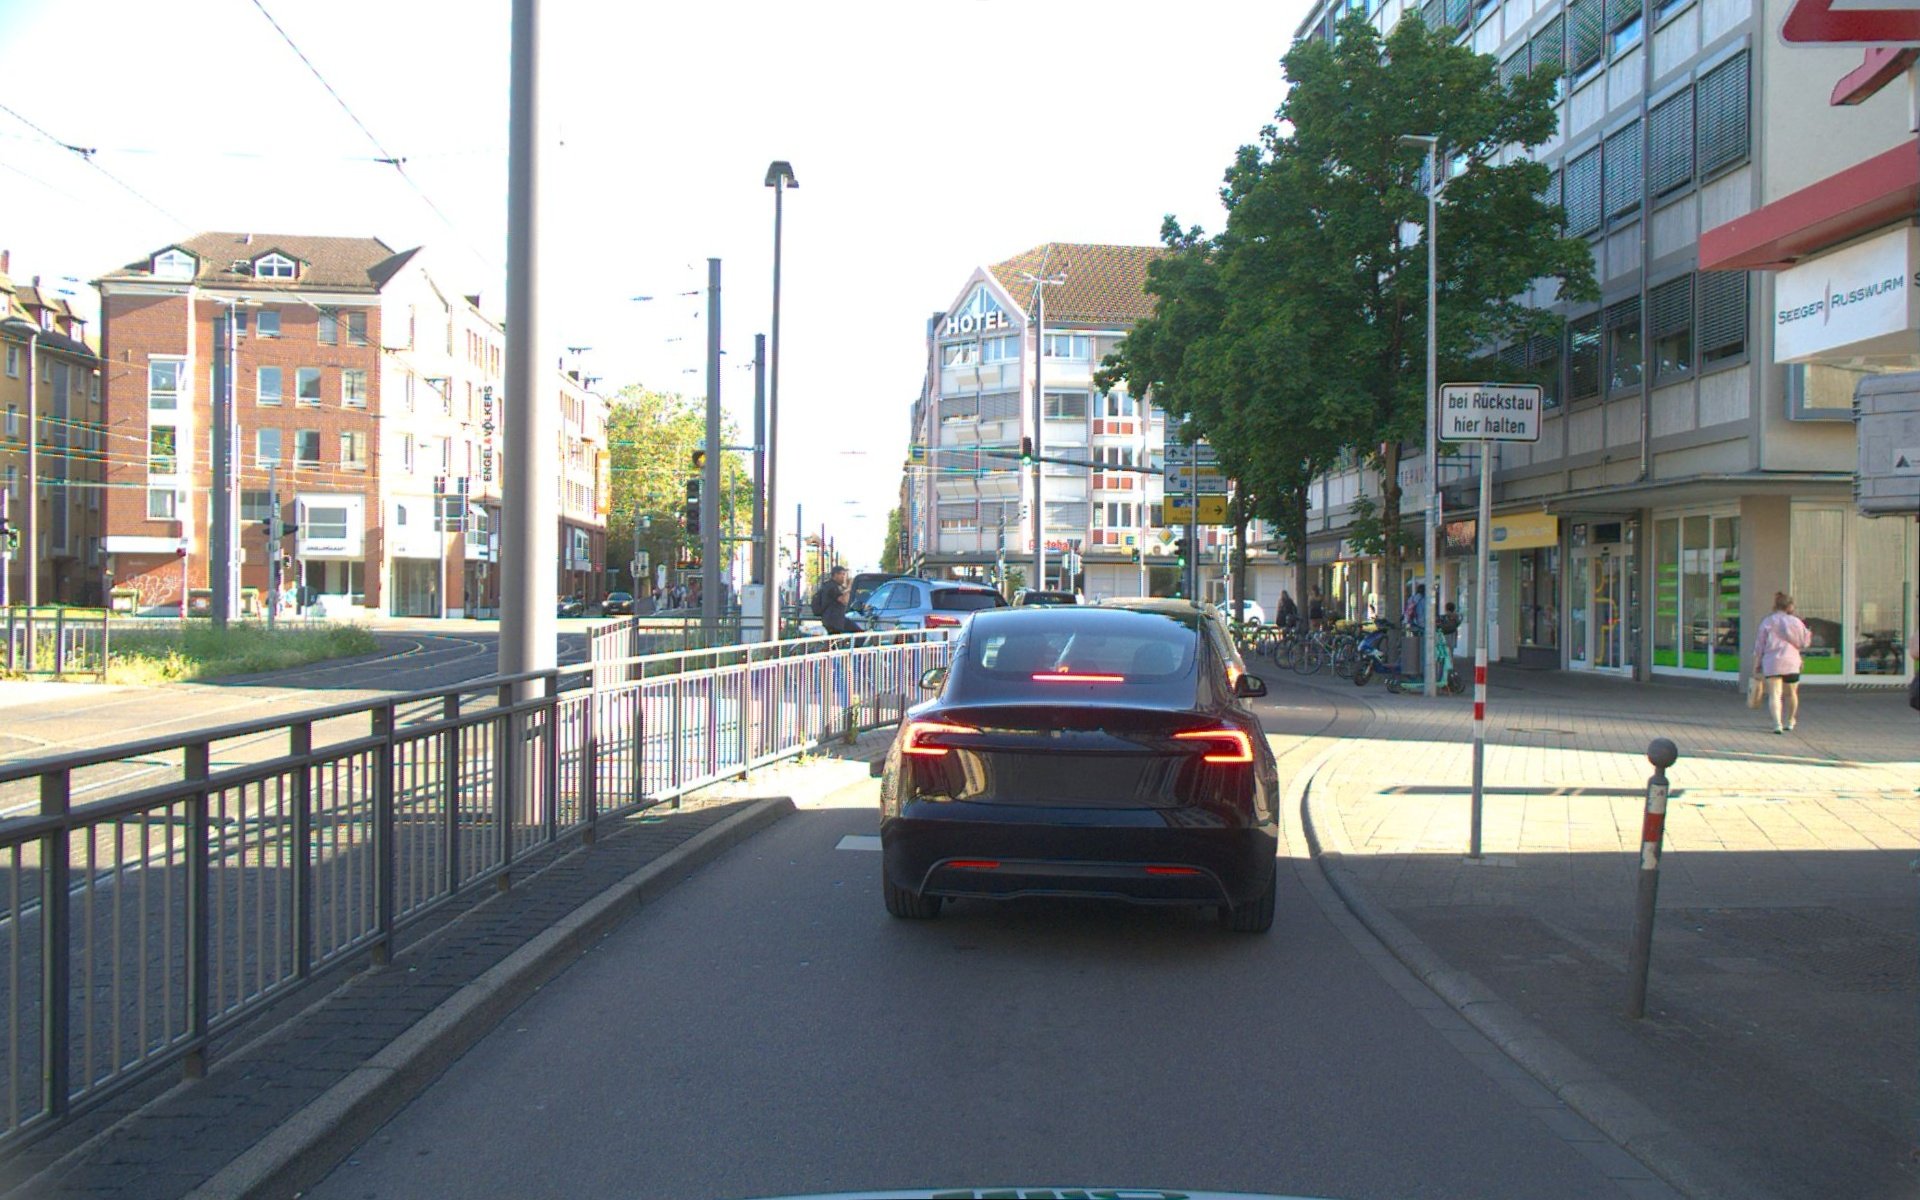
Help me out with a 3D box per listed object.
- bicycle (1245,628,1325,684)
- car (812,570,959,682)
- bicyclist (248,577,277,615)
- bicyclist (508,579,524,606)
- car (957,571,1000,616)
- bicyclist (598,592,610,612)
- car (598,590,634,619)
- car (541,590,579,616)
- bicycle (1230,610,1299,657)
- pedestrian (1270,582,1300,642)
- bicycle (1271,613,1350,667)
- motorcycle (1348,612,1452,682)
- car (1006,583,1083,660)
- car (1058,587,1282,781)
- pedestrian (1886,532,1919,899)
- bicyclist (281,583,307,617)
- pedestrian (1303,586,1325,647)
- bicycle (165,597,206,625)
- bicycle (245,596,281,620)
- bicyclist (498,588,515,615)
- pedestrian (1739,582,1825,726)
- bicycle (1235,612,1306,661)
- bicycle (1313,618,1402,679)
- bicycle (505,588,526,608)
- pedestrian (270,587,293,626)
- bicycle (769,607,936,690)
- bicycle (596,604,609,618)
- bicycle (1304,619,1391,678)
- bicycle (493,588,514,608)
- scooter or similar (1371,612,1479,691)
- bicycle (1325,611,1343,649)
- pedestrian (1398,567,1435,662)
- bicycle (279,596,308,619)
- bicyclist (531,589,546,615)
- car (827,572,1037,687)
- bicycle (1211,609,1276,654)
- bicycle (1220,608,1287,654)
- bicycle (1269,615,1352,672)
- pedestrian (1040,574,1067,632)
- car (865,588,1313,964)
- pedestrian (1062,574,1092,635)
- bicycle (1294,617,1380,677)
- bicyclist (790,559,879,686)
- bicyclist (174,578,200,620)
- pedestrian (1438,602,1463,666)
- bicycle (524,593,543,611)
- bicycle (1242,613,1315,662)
[{"bbox_3d":[6.742,1.162,34.323,1.620,1.118,0.349,1,-1,-11],"label":"bicycle"},{"bbox_3d":[-1.543,0.486,32.589,1.962,2.049,3.981,0,0,-17],"label":"car"},{"bbox_3d":[-28.377,-0.159,67.302,0.880,1.529,0.696,1,-1,-1],"label":"bicyclist"},{"bbox_3d":[-26.776,-0.461,99.799,0.767,1.590,0.746,0,0,1],"label":"bicyclist"},{"bbox_3d":[0.768,-0.260,69.846,1.685,1.781,3.753,1,0,-1],"label":"car"},{"bbox_3d":[-28.833,0.160,133.891,0.767,1.590,0.746,1,-1,1],"label":"bicyclist"},{"bbox_3d":[-21.974,0.289,105.643,1.663,1.762,3.704,1,0,-3],"label":"car"},{"bbox_3d":[-24.715,0.214,102.382,1.677,1.553,4.031,1,0,-5],"label":"car"},{"bbox_3d":[7.432,0.818,40.435,1.616,1.118,0.350,1,-1,1],"label":"bicycle"},{"bbox_3d":[9.247,0.341,47.046,0.685,1.691,0.777,1,-1,-1],"label":"pedestrian"},{"bbox_3d":[7.504,0.847,35.443,1.616,1.118,0.350,1,-1,1],"label":"bicycle"},{"bbox_3d":[7.812,0.838,29.399,1.673,1.194,0.541,1,-1,-3],"label":"motorcycle"},{"bbox_3d":[2.060,0.518,41.175,1.566,1.809,3.979,1,0,-2],"label":"car"},{"bbox_3d":[1.827,0.639,14.912,1.714,1.480,4.003,1,0,6],"label":"car"},{"bbox_3d":[5.269,0.563,8.360,0.895,1.783,1.038,0,0,22],"label":"pedestrian"},{"bbox_3d":[-29.671,-0.012,73.660,0.689,1.496,0.973,0,0,7],"label":"bicyclist"},{"bbox_3d":[10.103,0.465,47.228,0.515,1.740,0.403,1,-1,2],"label":"pedestrian"},{"bbox_3d":[-28.280,0.388,60.435,0.437,0.988,2.246,1,0,-1],"label":"bicycle"},{"bbox_3d":[-28.366,0.327,67.353,0.513,0.988,2.246,1,0,-1],"label":"bicycle"},{"bbox_3d":[-26.471,0.083,96.573,0.768,1.590,0.746,1,-1,0],"label":"bicyclist"},{"bbox_3d":[10.043,0.645,20.231,0.871,1.696,0.808,1,-1,23],"label":"pedestrian"},{"bbox_3d":[7.403,0.865,39.421,1.616,1.118,0.350,1,-1,1],"label":"bicycle"},{"bbox_3d":[7.484,0.916,31.121,1.620,1.118,0.349,1,-1,-11],"label":"bicycle"},{"bbox_3d":[-26.791,-0.134,99.778,0.518,1.107,2.284,4,-1,1],"label":"bicycle"},{"bbox_3d":[-33.174,0.325,80.822,0.767,1.852,0.746,1,-1,1],"label":"pedestrian"},{"bbox_3d":[-1.432,0.643,22.408,2.313,1.072,0.622,1,-1,-39],"label":"bicycle"},{"bbox_3d":[-28.861,0.864,133.565,0.518,1.107,2.225,1,0,1],"label":"bicycle"},{"bbox_3d":[7.387,0.926,31.541,1.620,1.079,0.349,1,-1,-11],"label":"bicycle"},{"bbox_3d":[-26.483,-0.122,95.990,0.526,1.107,2.225,1,0,1],"label":"bicycle"},{"bbox_3d":[7.667,0.837,27.287,1.610,1.236,0.644,1,-1,30],"label":"scooter or similar"},{"bbox_3d":[10.570,0.851,46.786,0.325,1.052,1.257,1,0,5],"label":"bicycle"},{"bbox_3d":[9.970,0.325,36.137,0.648,2.049,0.579,1,-1,1],"label":"pedestrian"},{"bbox_3d":[-29.678,0.335,73.660,0.396,0.998,1.695,1,0,7],"label":"bicycle"},{"bbox_3d":[-26.640,0.123,104.527,0.767,1.590,0.746,0,0,1],"label":"bicyclist"},{"bbox_3d":[-0.538,0.439,26.506,1.859,1.691,4.125,1,0,-25],"label":"car"},{"bbox_3d":[7.297,0.799,42.573,1.616,1.118,0.350,1,-1,1],"label":"bicycle"},{"bbox_3d":[7.367,0.775,41.480,1.616,1.118,0.350,0,0,1],"label":"bicycle"},{"bbox_3d":[7.100,0.885,33.488,1.620,1.118,0.349,1,-1,-11],"label":"bicycle"},{"bbox_3d":[3.355,0.121,59.471,0.902,2.049,0.972,1,-1,-1],"label":"pedestrian"},{"bbox_3d":[0.660,0.719,8.707,1.791,1.481,4.002,1,0,4],"label":"car"},{"bbox_3d":[3.981,0.150,56.156,0.902,2.049,0.972,1,-1,-1],"label":"pedestrian"},{"bbox_3d":[7.283,0.907,31.964,1.620,1.118,0.349,1,-1,-11],"label":"bicycle"},{"bbox_3d":[-1.682,0.290,22.157,0.753,1.657,0.964,1,-1,-39],"label":"bicyclist"},{"bbox_3d":[-28.253,-0.029,60.468,0.620,1.529,0.696,1,-1,-1],"label":"bicyclist"},{"bbox_3d":[10.658,0.734,35.917,0.381,1.367,0.513,1,-1,1],"label":"pedestrian"},{"bbox_3d":[-26.690,0.110,103.484,0.518,1.108,2.284,0,0,1],"label":"bicycle"},{"bbox_3d":[7.387,0.864,38.394,1.616,1.118,0.350,1,-1,1],"label":"bicycle"}]
